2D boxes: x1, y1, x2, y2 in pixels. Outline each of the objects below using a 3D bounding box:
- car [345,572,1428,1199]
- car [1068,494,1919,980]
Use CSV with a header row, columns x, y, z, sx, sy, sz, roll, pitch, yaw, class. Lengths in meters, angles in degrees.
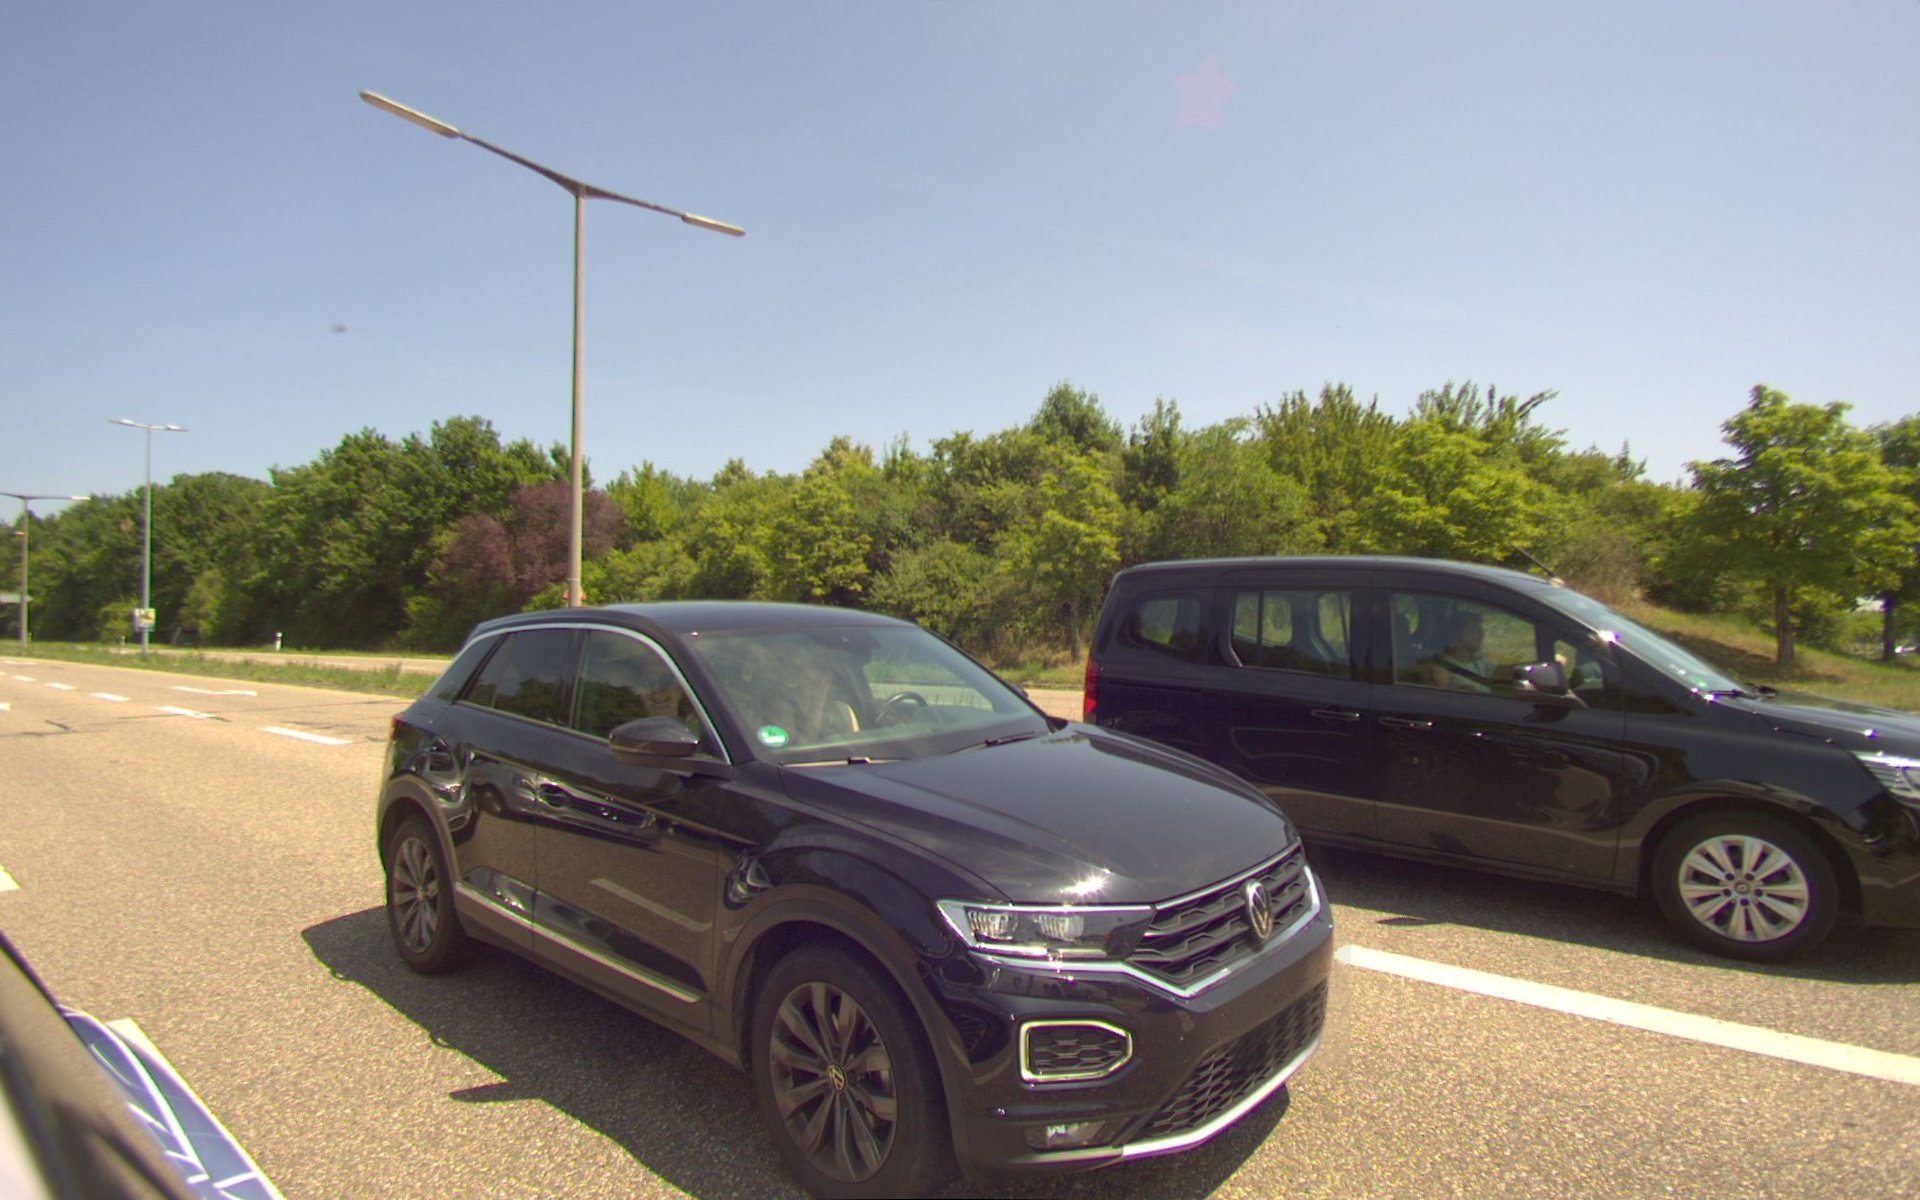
x,y,z,sx,sy,sz,roll,pitch,yaw,class
-0.624,0.723,3.750,3.969,1.523,1.716,-1,0,41,car
2.879,0.567,5.573,4.317,1.840,1.714,-2,-2,39,car
